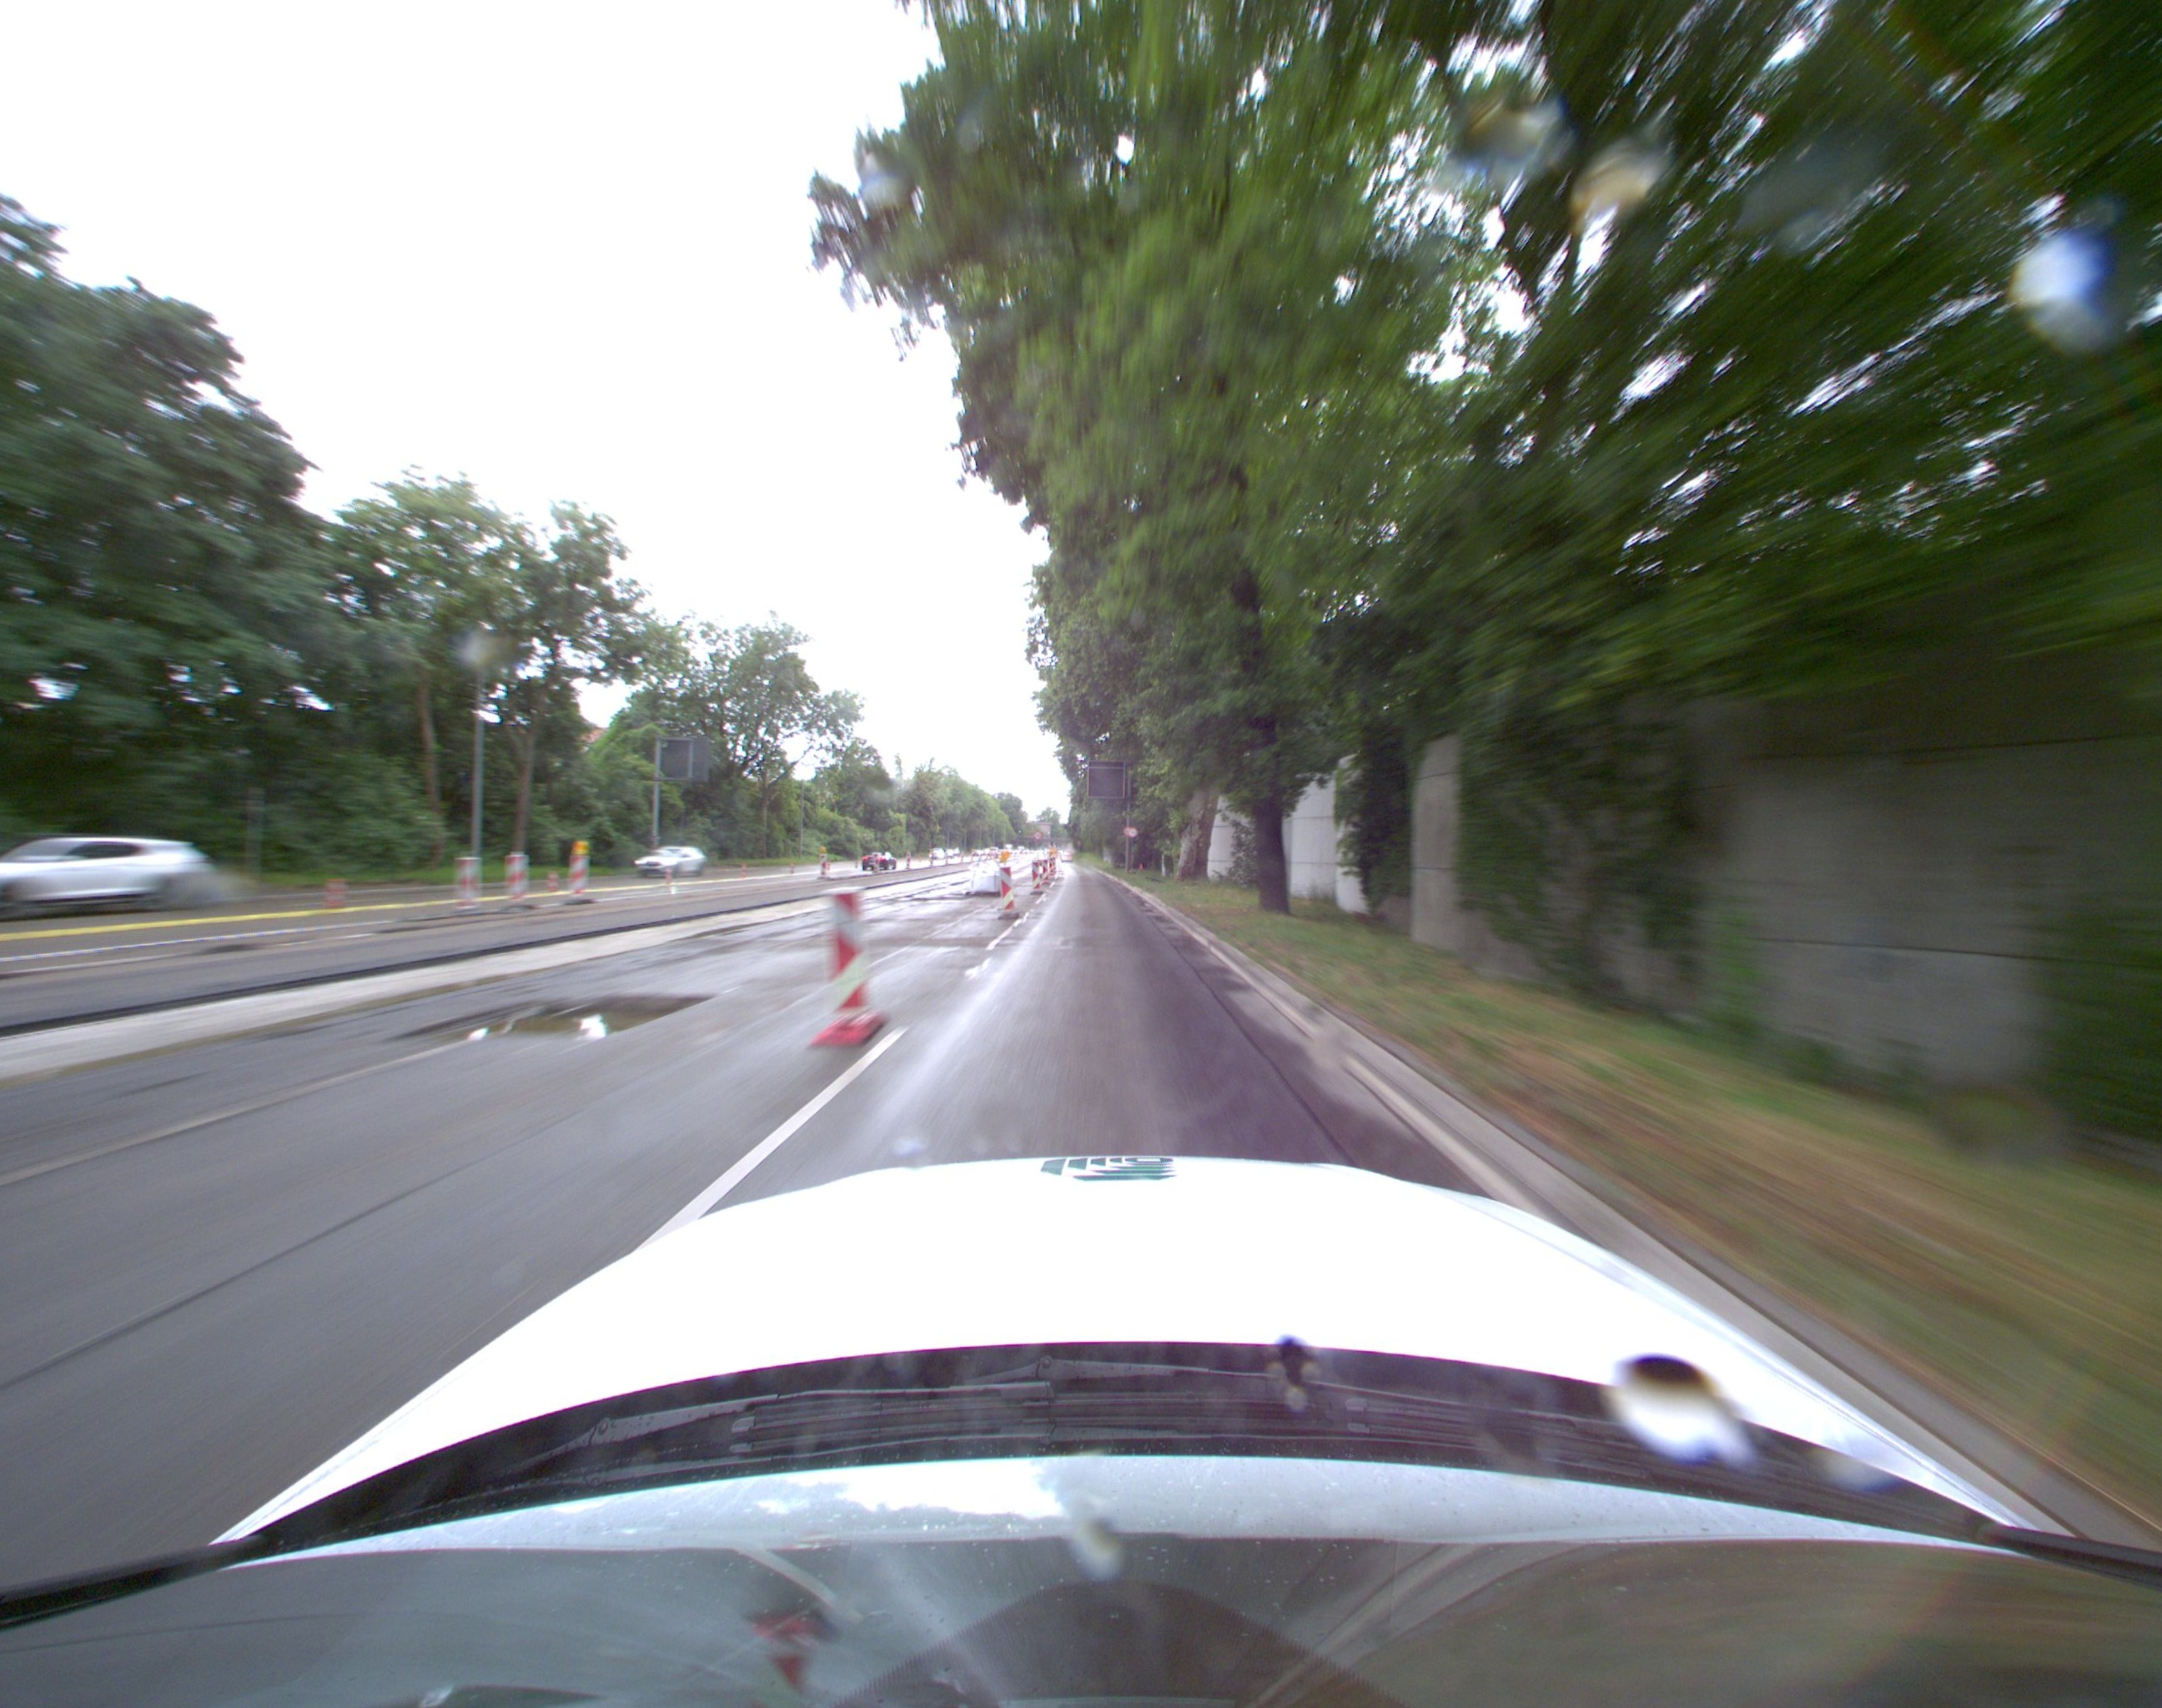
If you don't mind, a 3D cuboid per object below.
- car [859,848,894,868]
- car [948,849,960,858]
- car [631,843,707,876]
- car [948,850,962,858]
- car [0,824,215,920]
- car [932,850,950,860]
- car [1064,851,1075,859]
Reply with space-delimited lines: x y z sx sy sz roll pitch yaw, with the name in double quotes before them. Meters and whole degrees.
"car" -15.116 0.272 60.364 1.603 1.404 4.038 2 0 -2
"car" -23.885 -0.157 153.560 1.648 1.685 4.530 2 0 -2
"car" -20.677 0.258 41.024 1.661 1.541 4.157 -2 0 0
"car" -20.677 -0.044 133.640 1.813 1.355 4.202 0 0 -2
"car" -20.751 0.320 16.473 1.771 1.751 4.378 0 0 -1
"car" -19.306 0.118 112.584 1.813 1.355 4.387 0 0 -2
"car" -1.966 0.199 134.244 1.693 1.336 3.487 -1 0 -3
